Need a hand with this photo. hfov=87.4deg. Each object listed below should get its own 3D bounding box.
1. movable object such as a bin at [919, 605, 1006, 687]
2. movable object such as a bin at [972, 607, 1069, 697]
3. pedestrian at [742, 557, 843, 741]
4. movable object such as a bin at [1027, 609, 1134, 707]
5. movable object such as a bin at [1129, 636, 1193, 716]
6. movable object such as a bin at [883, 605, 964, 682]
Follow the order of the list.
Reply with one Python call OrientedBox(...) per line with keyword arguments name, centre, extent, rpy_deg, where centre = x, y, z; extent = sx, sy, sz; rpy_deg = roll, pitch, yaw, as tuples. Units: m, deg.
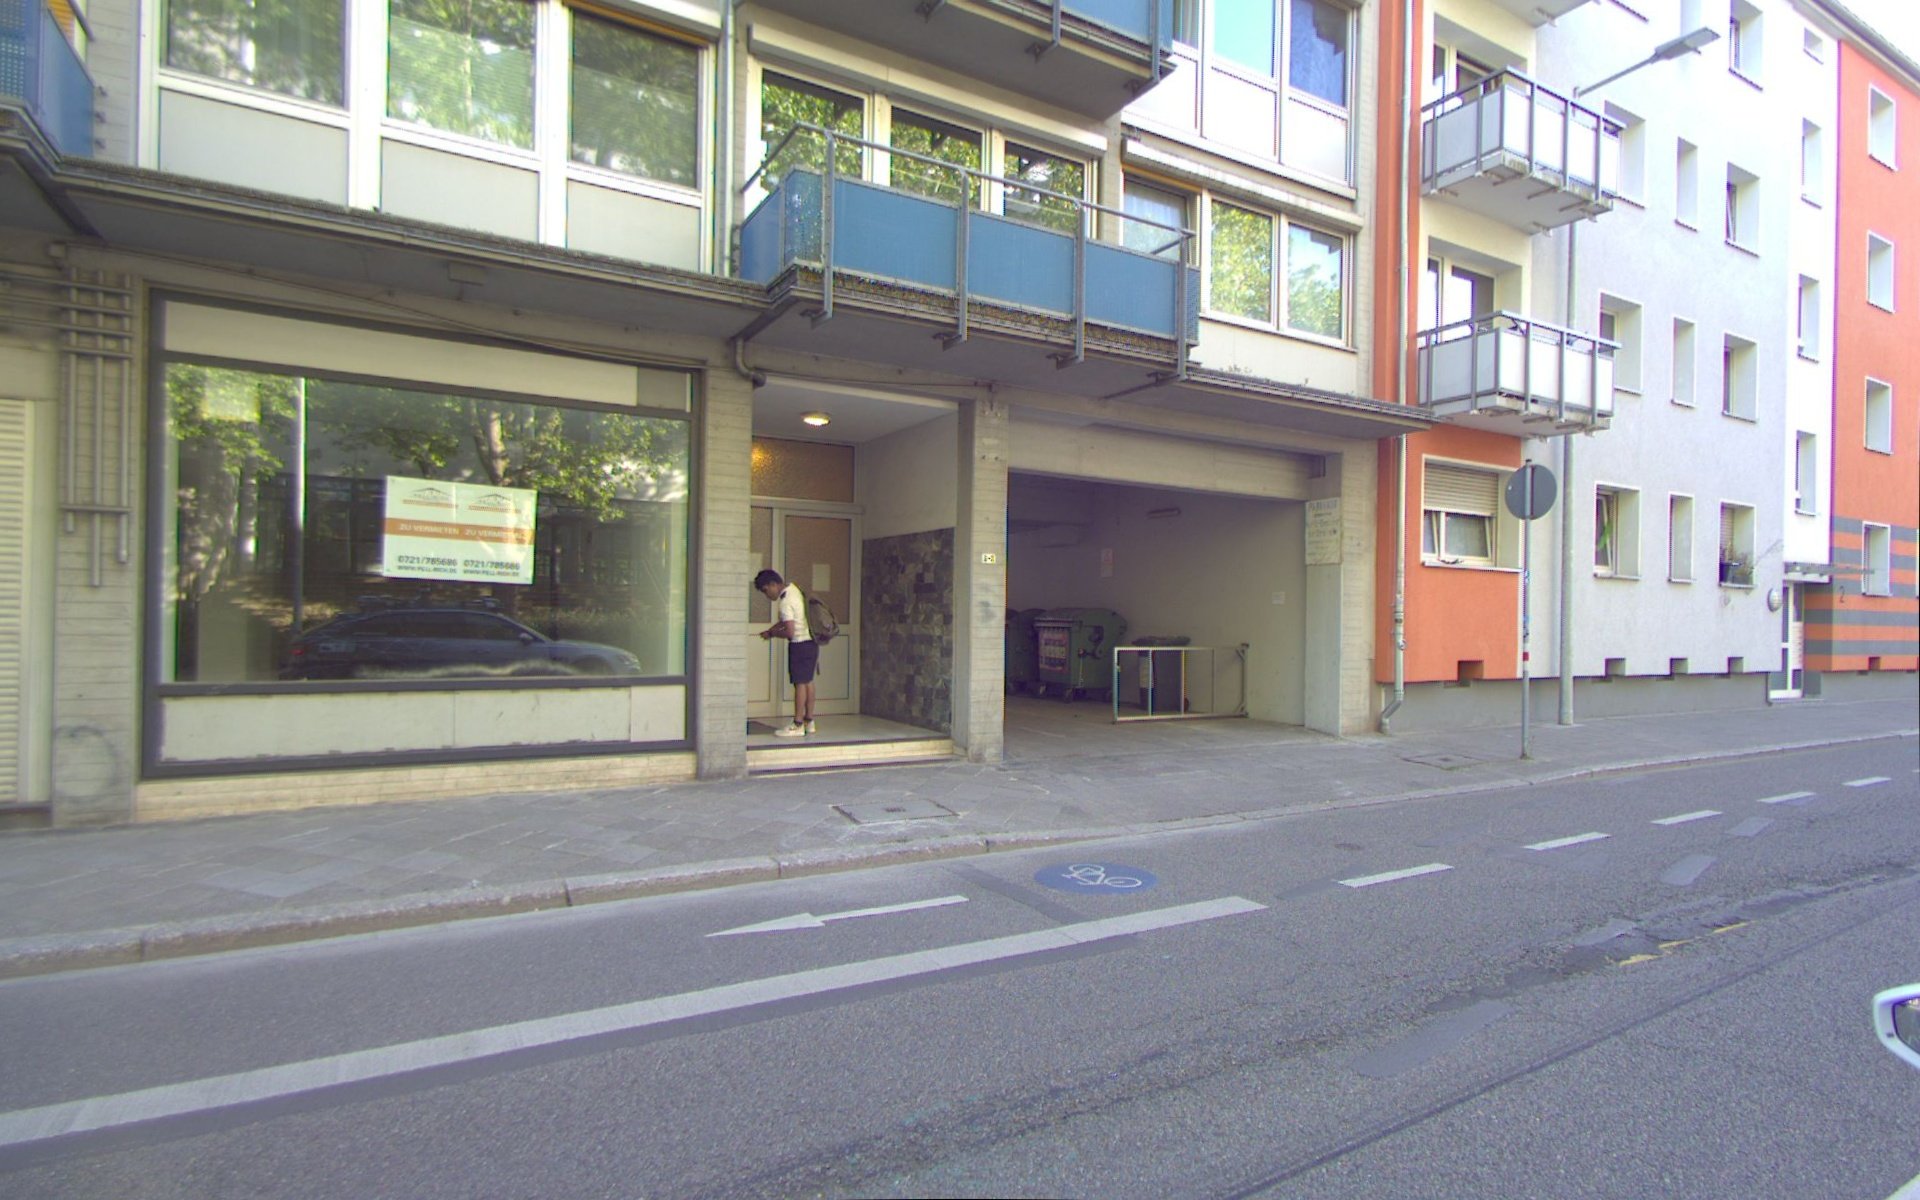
OrientedBox(name="movable object such as a bin", centre=(0.040, 0.842, 18.705), extent=(1.120, 1.444, 1.268), rpy_deg=(2, 0, -28))
OrientedBox(name="movable object such as a bin", centre=(1.020, 0.865, 17.163), extent=(1.120, 1.444, 1.268), rpy_deg=(2, 0, -28))
OrientedBox(name="pedestrian", centre=(-1.555, 0.451, 9.462), extent=(0.821, 1.639, 0.793), rpy_deg=(2, 0, -4))
OrientedBox(name="movable object such as a bin", centre=(1.887, 0.883, 15.821), extent=(1.120, 1.444, 1.268), rpy_deg=(2, 0, -28))
OrientedBox(name="movable object such as a bin", centre=(2.899, 1.082, 14.497), extent=(0.713, 1.094, 0.533), rpy_deg=(2, 0, -29))
OrientedBox(name="movable object such as a bin", centre=(-0.730, 0.846, 19.798), extent=(1.120, 1.444, 1.268), rpy_deg=(2, 0, -28))
